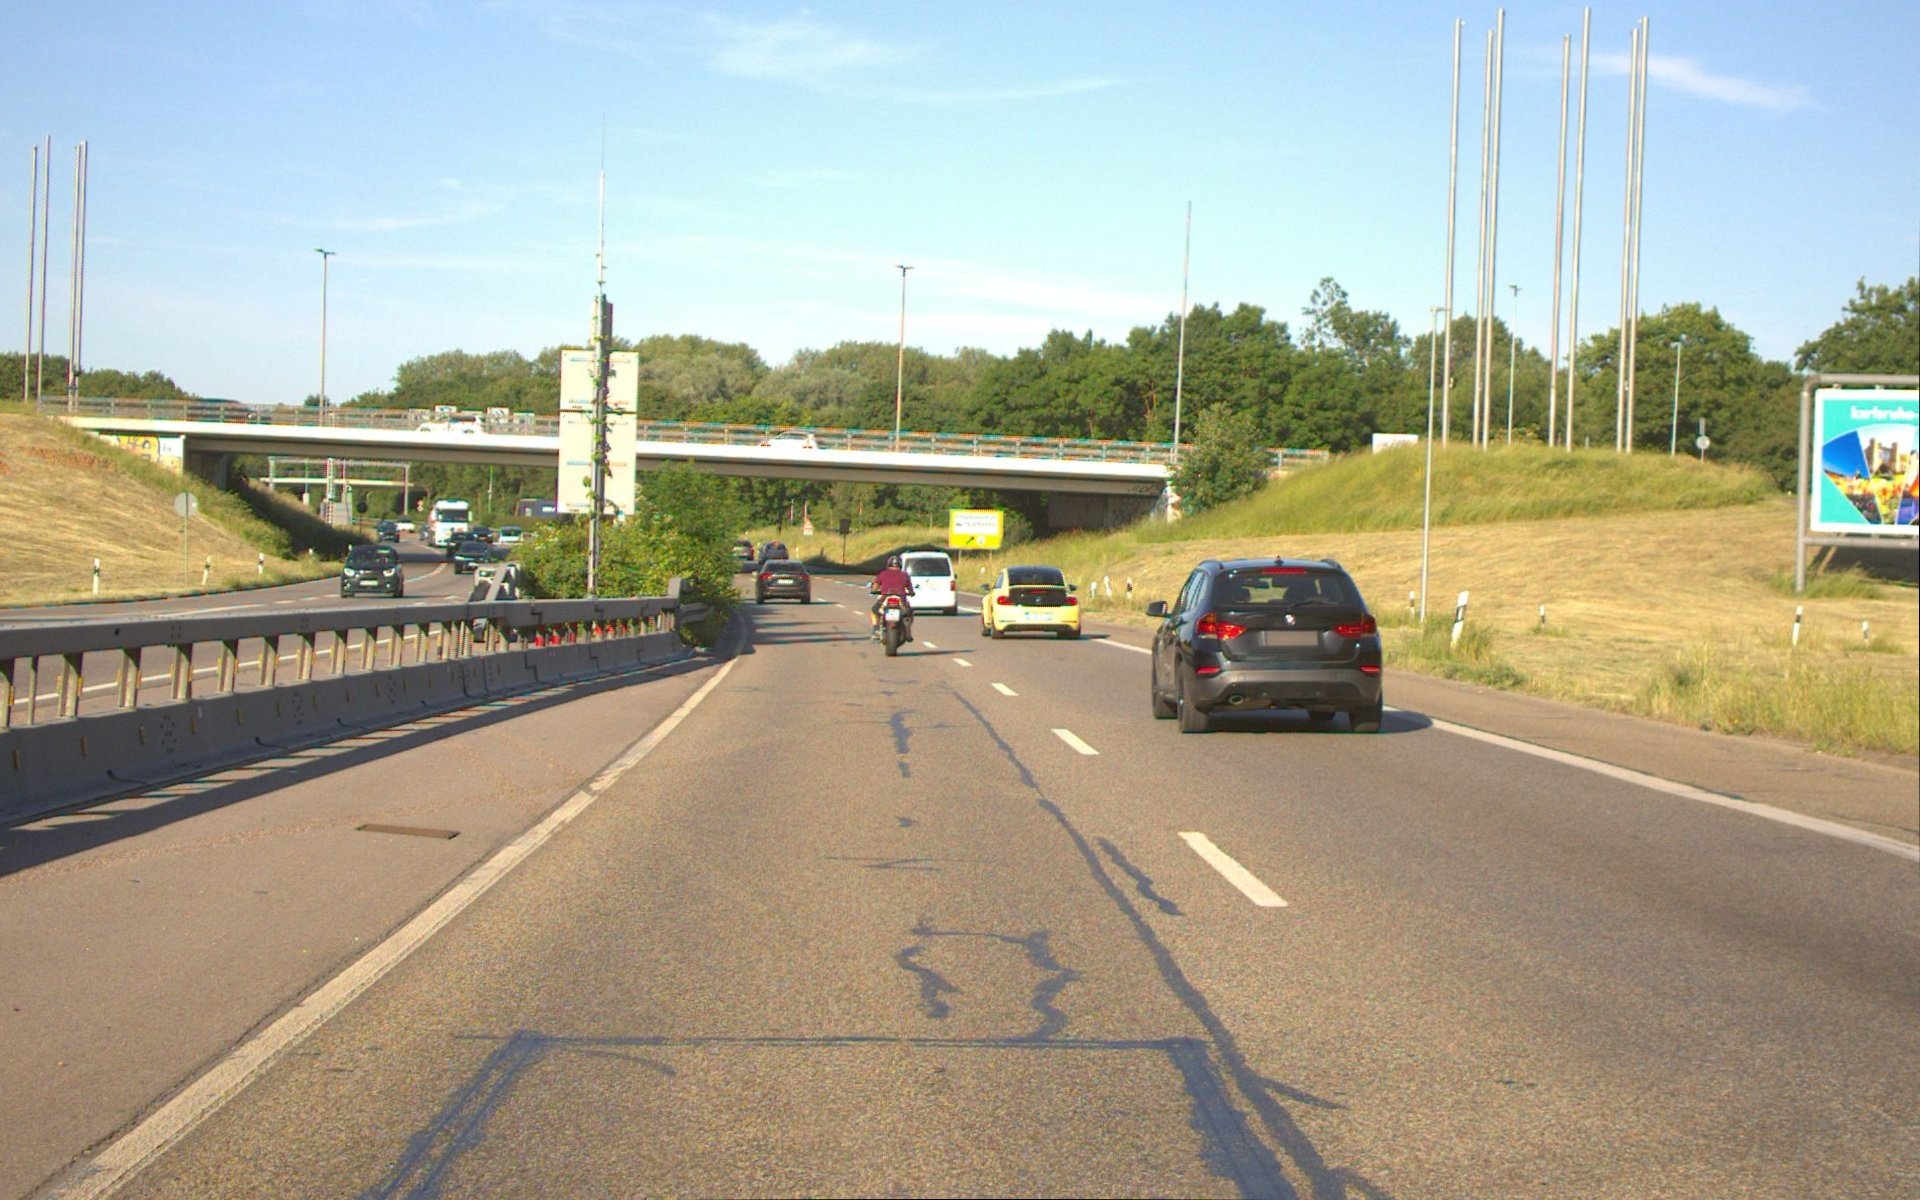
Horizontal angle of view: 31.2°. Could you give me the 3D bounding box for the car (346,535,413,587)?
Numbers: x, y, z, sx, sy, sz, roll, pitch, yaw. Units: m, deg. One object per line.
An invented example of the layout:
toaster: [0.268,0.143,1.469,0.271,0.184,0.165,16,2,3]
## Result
car: [-17.032,-1.146,101.009,1.609,1.480,3.393,1,1,-4]

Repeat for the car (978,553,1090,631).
car: [1.483,-0.193,70.021,1.897,1.466,4.001,0,2,-4]

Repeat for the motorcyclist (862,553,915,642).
motorcyclist: [-1.174,-0.046,56.793,0.816,1.442,1.094,1,1,1]

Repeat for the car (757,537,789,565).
car: [-11.874,-3.127,218.600,1.869,1.679,4.000,2,1,-1]

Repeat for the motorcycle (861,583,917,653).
motorcycle: [-1.166,0.281,56.967,0.816,1.066,2.836,1,1,1]

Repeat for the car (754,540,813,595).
car: [-5.934,-1.105,115.977,1.897,1.761,4.001,2,1,-2]

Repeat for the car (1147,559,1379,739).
car: [2.700,0.420,31.505,1.699,1.501,4.579,-1,0,0]

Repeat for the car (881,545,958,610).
car: [-1.156,-0.655,97.245,1.897,1.761,4.001,0,1,-5]

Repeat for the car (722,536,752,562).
car: [-15.346,-3.512,236.656,1.869,1.679,4.000,2,1,-1]

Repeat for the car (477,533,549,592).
car: [-12.386,-1.054,95.456,1.716,1.569,4.164,1,1,-4]
